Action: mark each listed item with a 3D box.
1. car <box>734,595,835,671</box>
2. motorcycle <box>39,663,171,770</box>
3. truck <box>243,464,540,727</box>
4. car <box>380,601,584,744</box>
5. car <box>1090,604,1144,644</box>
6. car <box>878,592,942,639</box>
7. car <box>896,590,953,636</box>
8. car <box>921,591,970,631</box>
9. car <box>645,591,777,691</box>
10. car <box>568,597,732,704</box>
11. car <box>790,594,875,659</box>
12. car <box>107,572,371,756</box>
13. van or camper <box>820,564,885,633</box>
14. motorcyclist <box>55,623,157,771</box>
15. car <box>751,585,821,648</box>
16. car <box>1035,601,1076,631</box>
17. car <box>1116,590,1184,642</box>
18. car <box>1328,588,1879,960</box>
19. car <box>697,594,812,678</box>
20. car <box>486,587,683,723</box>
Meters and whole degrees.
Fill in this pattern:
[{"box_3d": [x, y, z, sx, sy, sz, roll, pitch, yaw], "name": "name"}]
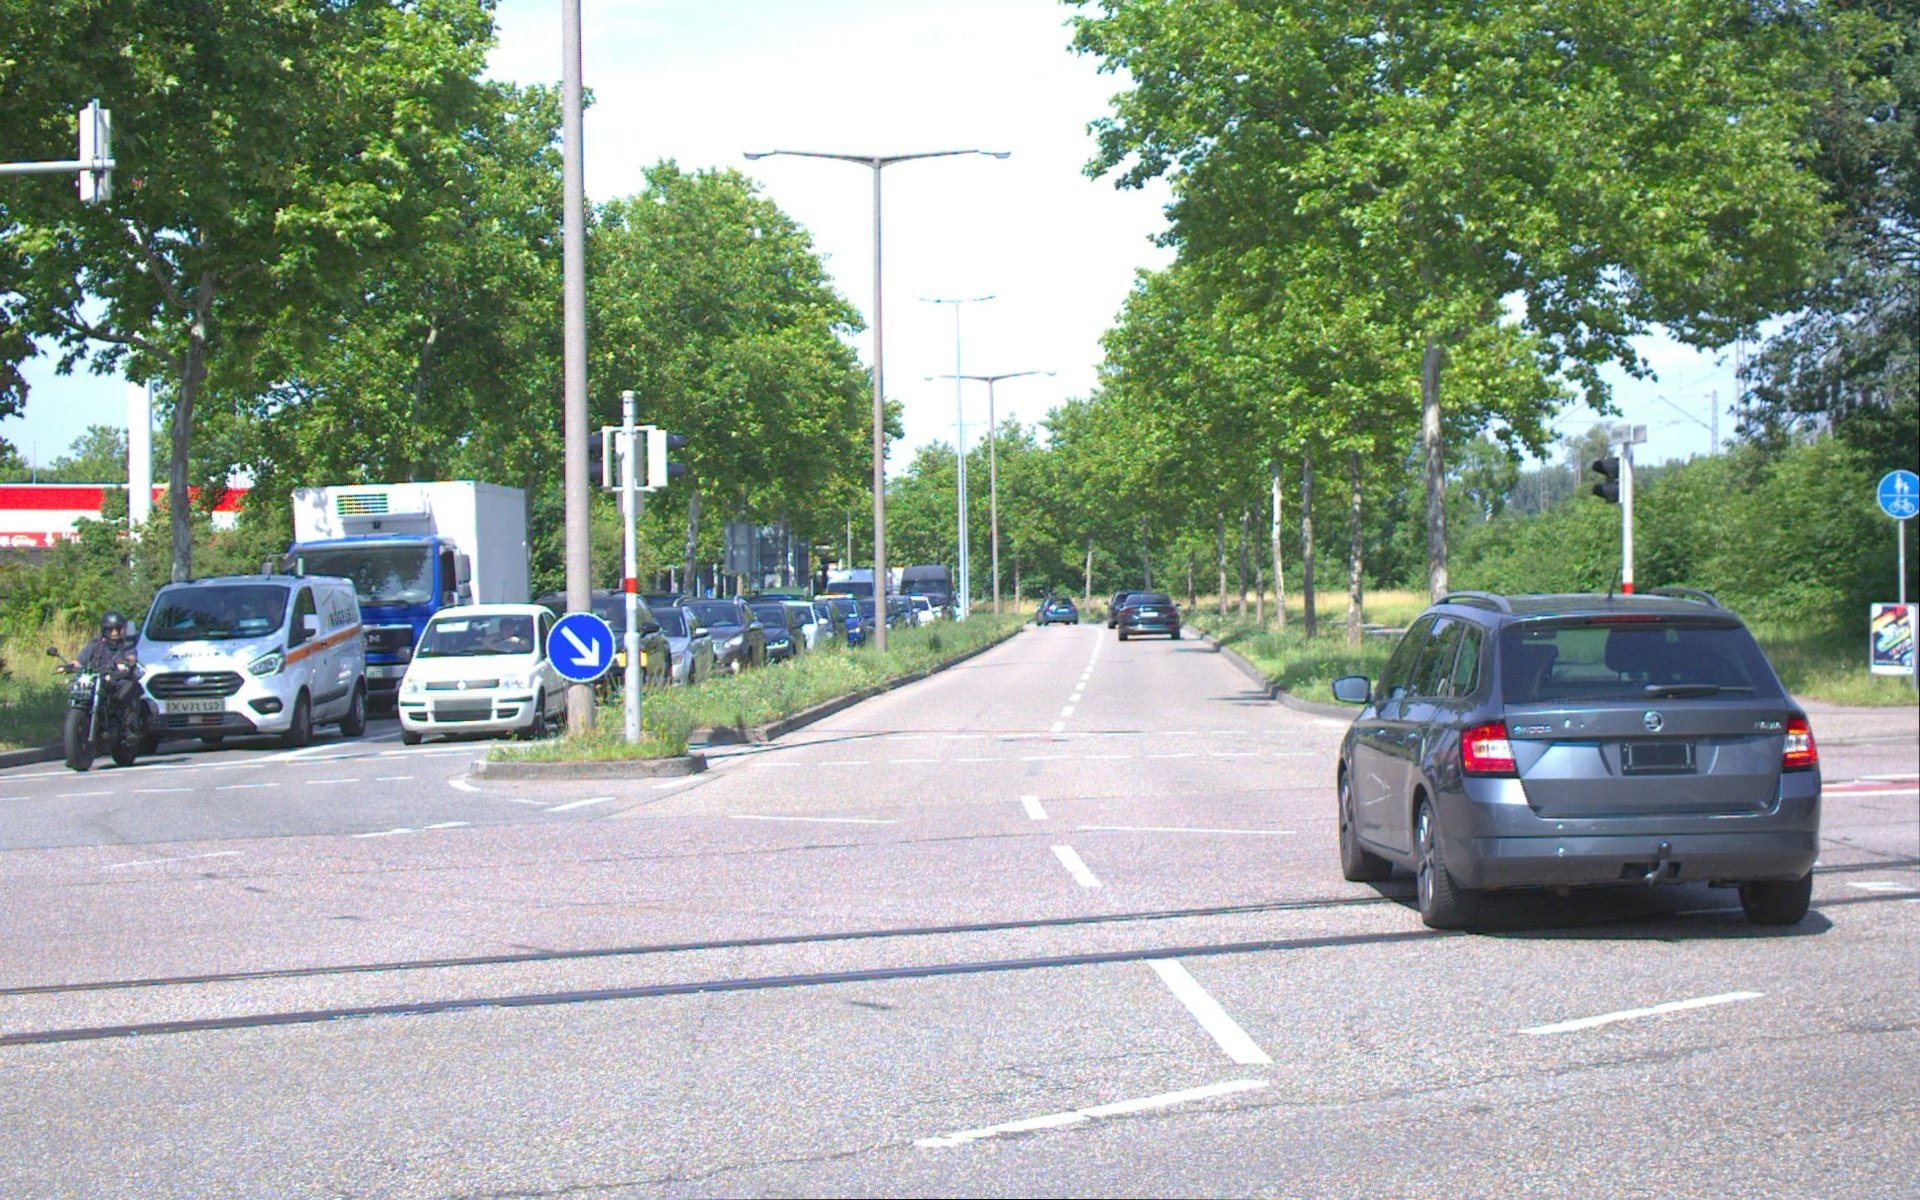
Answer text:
[{"box_3d": [-3.613, 0.671, 71.367, 1.689, 1.467, 3.814, -1, 0, 3], "name": "car"}, {"box_3d": [-8.636, 1.162, 34.818, 0.688, 0.988, 2.217, 0, 0, 3], "name": "motorcycle"}, {"box_3d": [-8.116, -0.102, 49.937, 2.804, 3.459, 6.691, -2, 1, 3], "name": "truck"}, {"box_3d": [-5.375, 0.787, 39.056, 1.593, 1.472, 3.729, -1, 0, 3], "name": "car"}, {"box_3d": [6.197, 0.931, 136.002, 1.908, 1.458, 4.582, 0, 1, -1], "name": "car"}, {"box_3d": [-1.614, 0.482, 111.614, 1.784, 1.454, 4.471, -1, 0, 3], "name": "car"}, {"box_3d": [-1.197, 0.429, 118.060, 1.689, 1.505, 3.814, -1, 0, 3], "name": "car"}, {"box_3d": [-0.543, 0.439, 134.672, 1.689, 1.525, 3.814, -1, -1, 3], "name": "car"}, {"box_3d": [-4.192, 0.665, 58.406, 1.689, 1.581, 4.240, -1, 0, 3], "name": "car"}, {"box_3d": [-4.613, 0.730, 51.804, 1.797, 1.463, 4.522, -1, 0, 3], "name": "car"}, {"box_3d": [-3.092, 0.635, 84.052, 1.784, 1.484, 4.211, -1, 0, 2], "name": "car"}, {"box_3d": [-8.289, 0.681, 39.968, 1.976, 1.992, 5.032, 0, 0, 0], "name": "car"}, {"box_3d": [-4.107, -0.079, 132.680, 2.015, 2.579, 5.516, -1, 0, 3], "name": "van or camper"}, {"box_3d": [-8.667, 0.978, 34.905, 0.743, 1.465, 0.987, 0, 0, 3], "name": "motorcyclist"}, {"box_3d": [-5.312, 0.508, 105.325, 1.689, 1.852, 4.036, -1, 0, 3], "name": "car"}, {"box_3d": [4.876, 0.805, 175.441, 1.908, 1.458, 4.582, 0, 1, -1], "name": "car"}, {"box_3d": [5.638, 0.453, 102.426, 1.908, 1.458, 4.621, 0, 1, 2], "name": "car"}, {"box_3d": [2.810, 0.696, 15.871, 1.674, 1.448, 4.036, 1, 0, -1], "name": "car"}, {"box_3d": [-3.899, 0.661, 65.738, 1.689, 1.468, 4.218, -2, 0, 3], "name": "car"}, {"box_3d": [-4.842, 0.706, 44.960, 1.820, 1.641, 4.693, -1, -1, 3], "name": "car"}]
